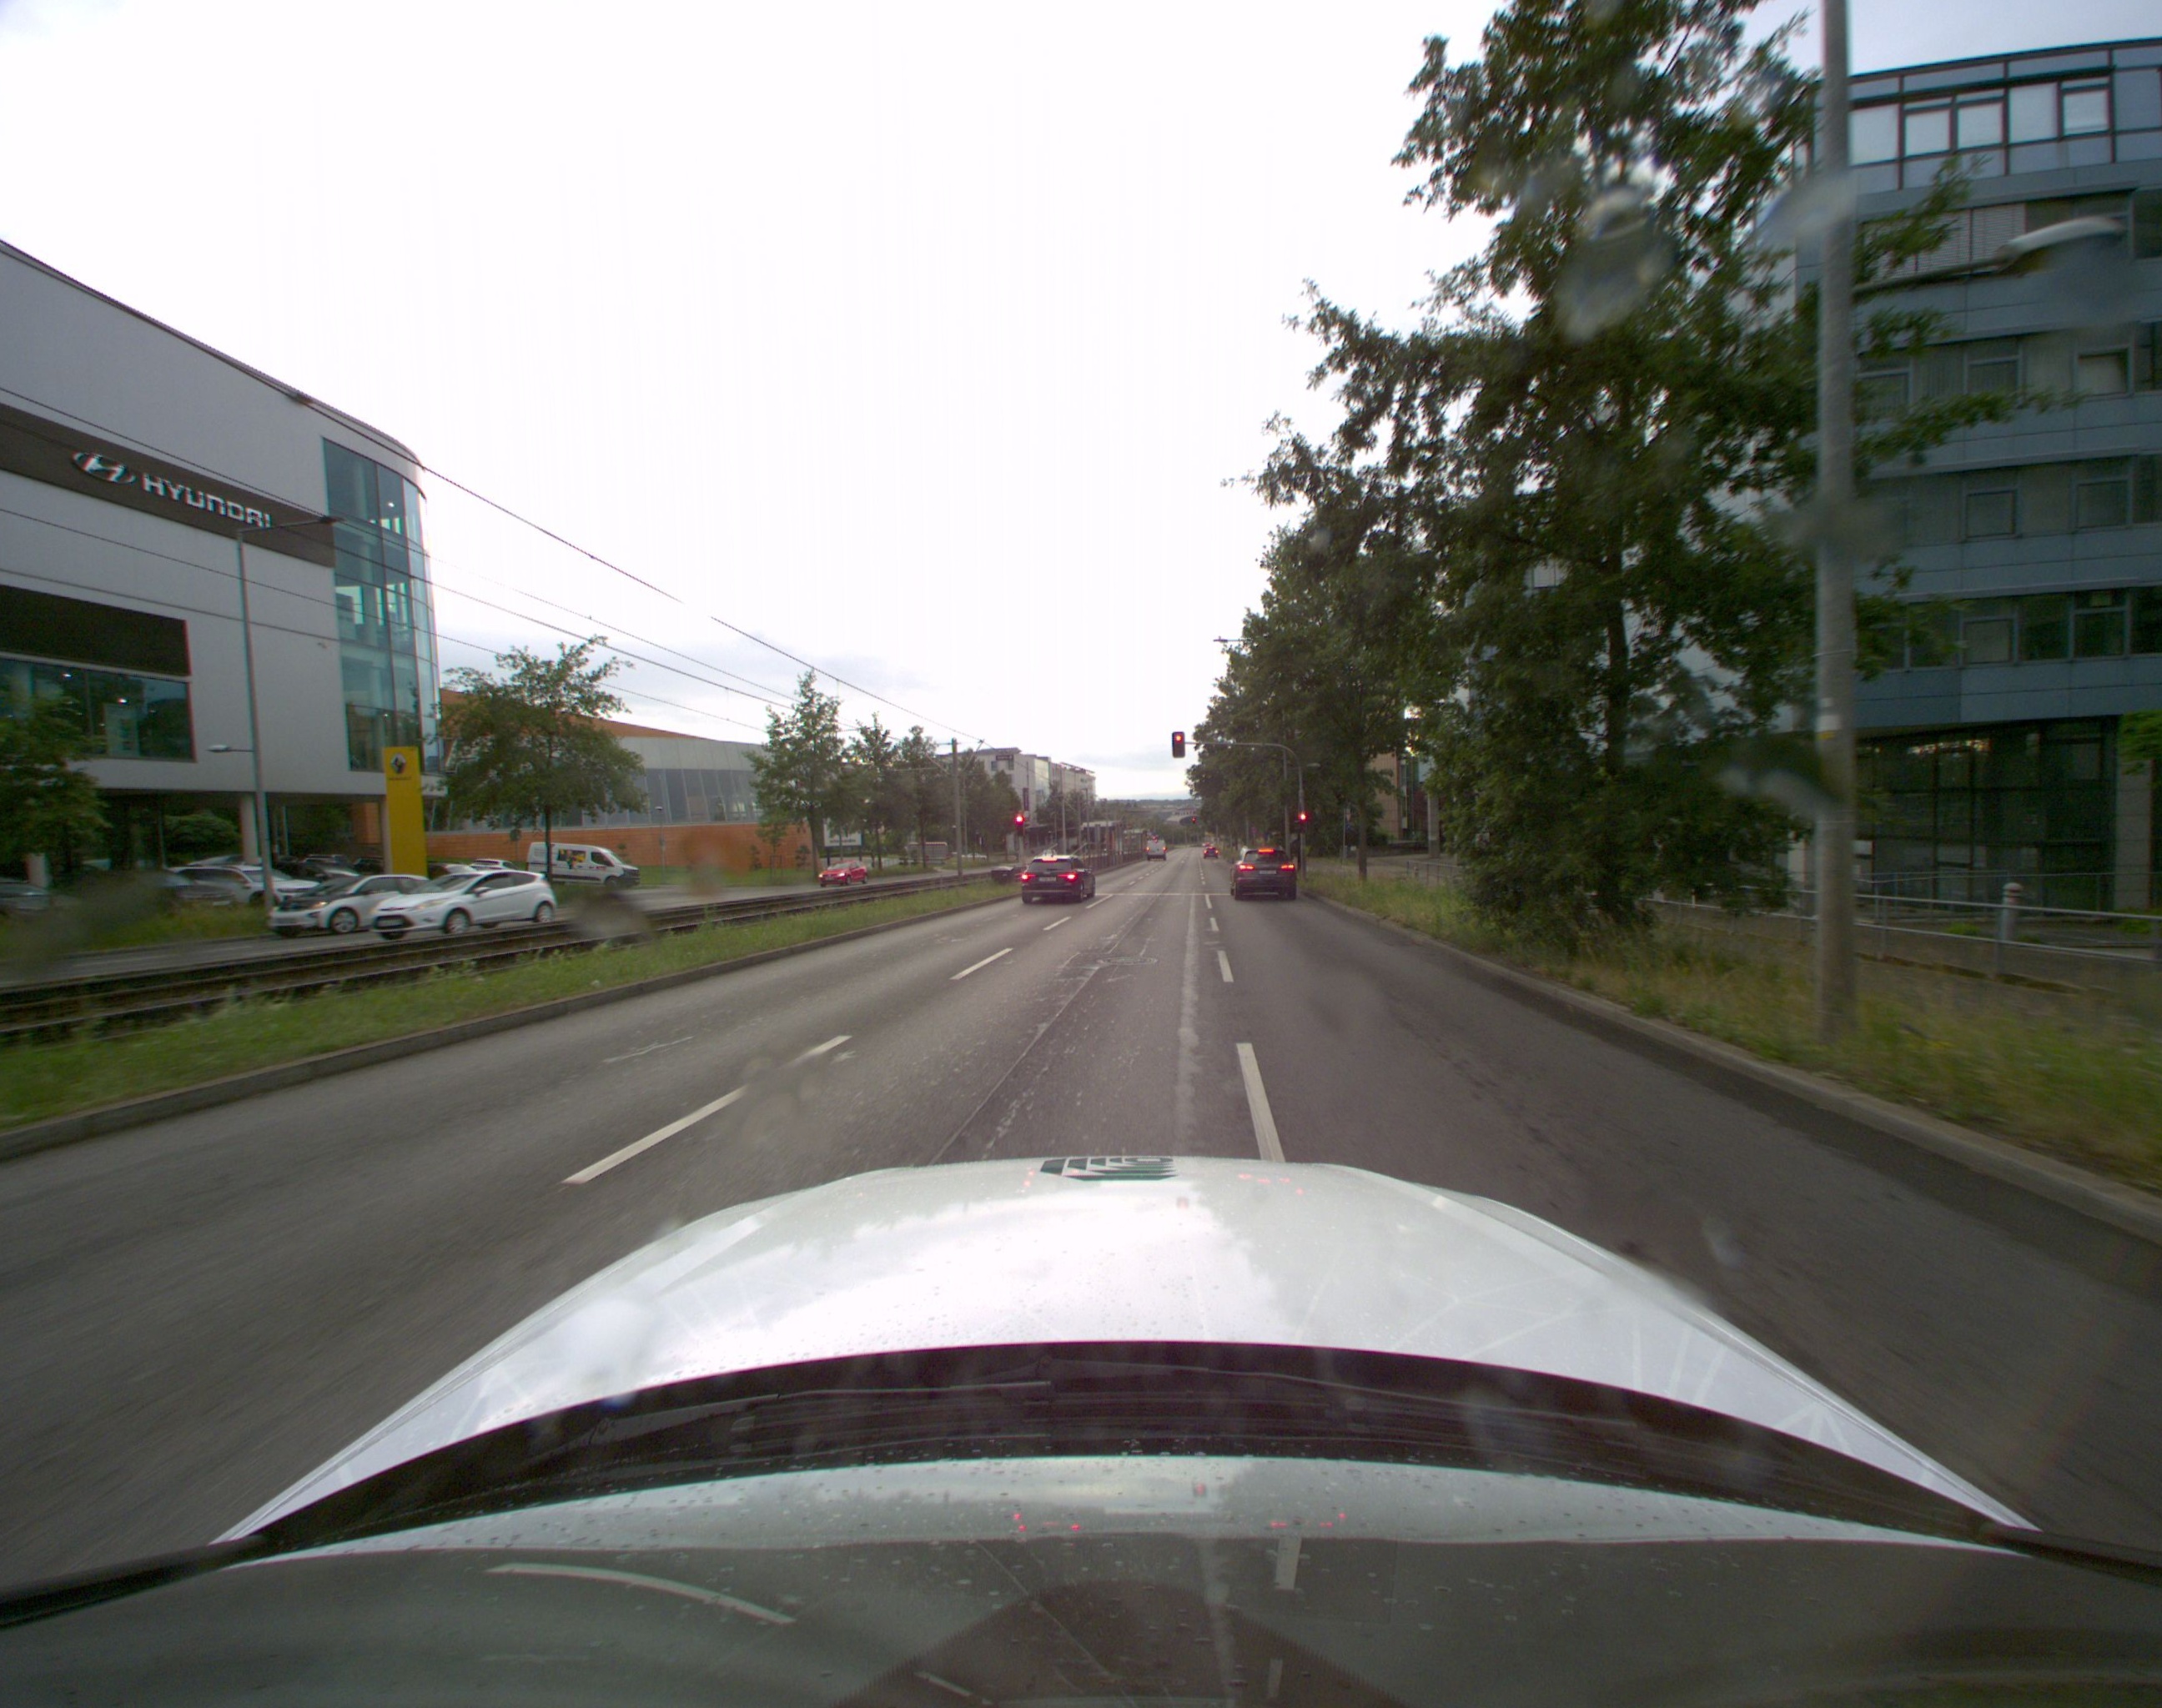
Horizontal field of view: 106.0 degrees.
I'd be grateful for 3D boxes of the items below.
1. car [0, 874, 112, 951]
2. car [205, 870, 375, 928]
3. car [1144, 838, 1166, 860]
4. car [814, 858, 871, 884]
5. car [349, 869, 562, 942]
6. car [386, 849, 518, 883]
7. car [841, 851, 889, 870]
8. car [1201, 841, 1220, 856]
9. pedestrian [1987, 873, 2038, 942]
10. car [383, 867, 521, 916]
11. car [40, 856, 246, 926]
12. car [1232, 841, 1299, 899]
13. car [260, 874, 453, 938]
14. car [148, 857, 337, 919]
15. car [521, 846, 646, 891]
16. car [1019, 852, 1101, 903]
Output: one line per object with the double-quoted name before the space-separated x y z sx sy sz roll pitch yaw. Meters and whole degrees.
"car" -30.598 1.644 22.678 4.590 1.976 2.018 -2 0 -3
"car" -30.762 1.730 31.764 4.585 1.976 2.020 -2 0 0
"car" 8.434 -0.597 92.727 2.255 2.284 4.770 0 2 7
"car" -13.741 0.965 47.163 1.653 1.442 3.906 -1 0 9
"car" -14.357 1.128 19.014 1.654 1.442 3.904 -1 0 7
"car" -34.915 0.637 45.351 5.326 1.785 2.258 -1 0 -12
"car" -22.163 0.662 83.668 4.302 1.809 2.101 0 1 4
"car" 16.295 -0.671 102.398 2.039 1.742 4.581 0 2 5
"pedestrian" 19.349 1.107 16.924 0.500 1.408 0.458 -1 0 8
"car" -28.323 1.650 36.769 4.586 1.976 2.020 -2 0 0
"car" -29.760 1.139 25.942 4.332 1.976 1.875 -2 0 0
"car" 5.829 0.443 25.871 1.909 1.710 4.112 0 1 12
"car" -20.282 1.395 23.036 1.653 1.544 3.906 -1 0 9
"car" -29.875 1.180 29.133 4.585 1.976 2.020 -2 0 0
"car" -28.418 0.779 46.723 5.642 2.432 2.258 -1 0 -12
"car" -0.544 0.657 25.528 1.776 1.413 4.817 -1 0 8
